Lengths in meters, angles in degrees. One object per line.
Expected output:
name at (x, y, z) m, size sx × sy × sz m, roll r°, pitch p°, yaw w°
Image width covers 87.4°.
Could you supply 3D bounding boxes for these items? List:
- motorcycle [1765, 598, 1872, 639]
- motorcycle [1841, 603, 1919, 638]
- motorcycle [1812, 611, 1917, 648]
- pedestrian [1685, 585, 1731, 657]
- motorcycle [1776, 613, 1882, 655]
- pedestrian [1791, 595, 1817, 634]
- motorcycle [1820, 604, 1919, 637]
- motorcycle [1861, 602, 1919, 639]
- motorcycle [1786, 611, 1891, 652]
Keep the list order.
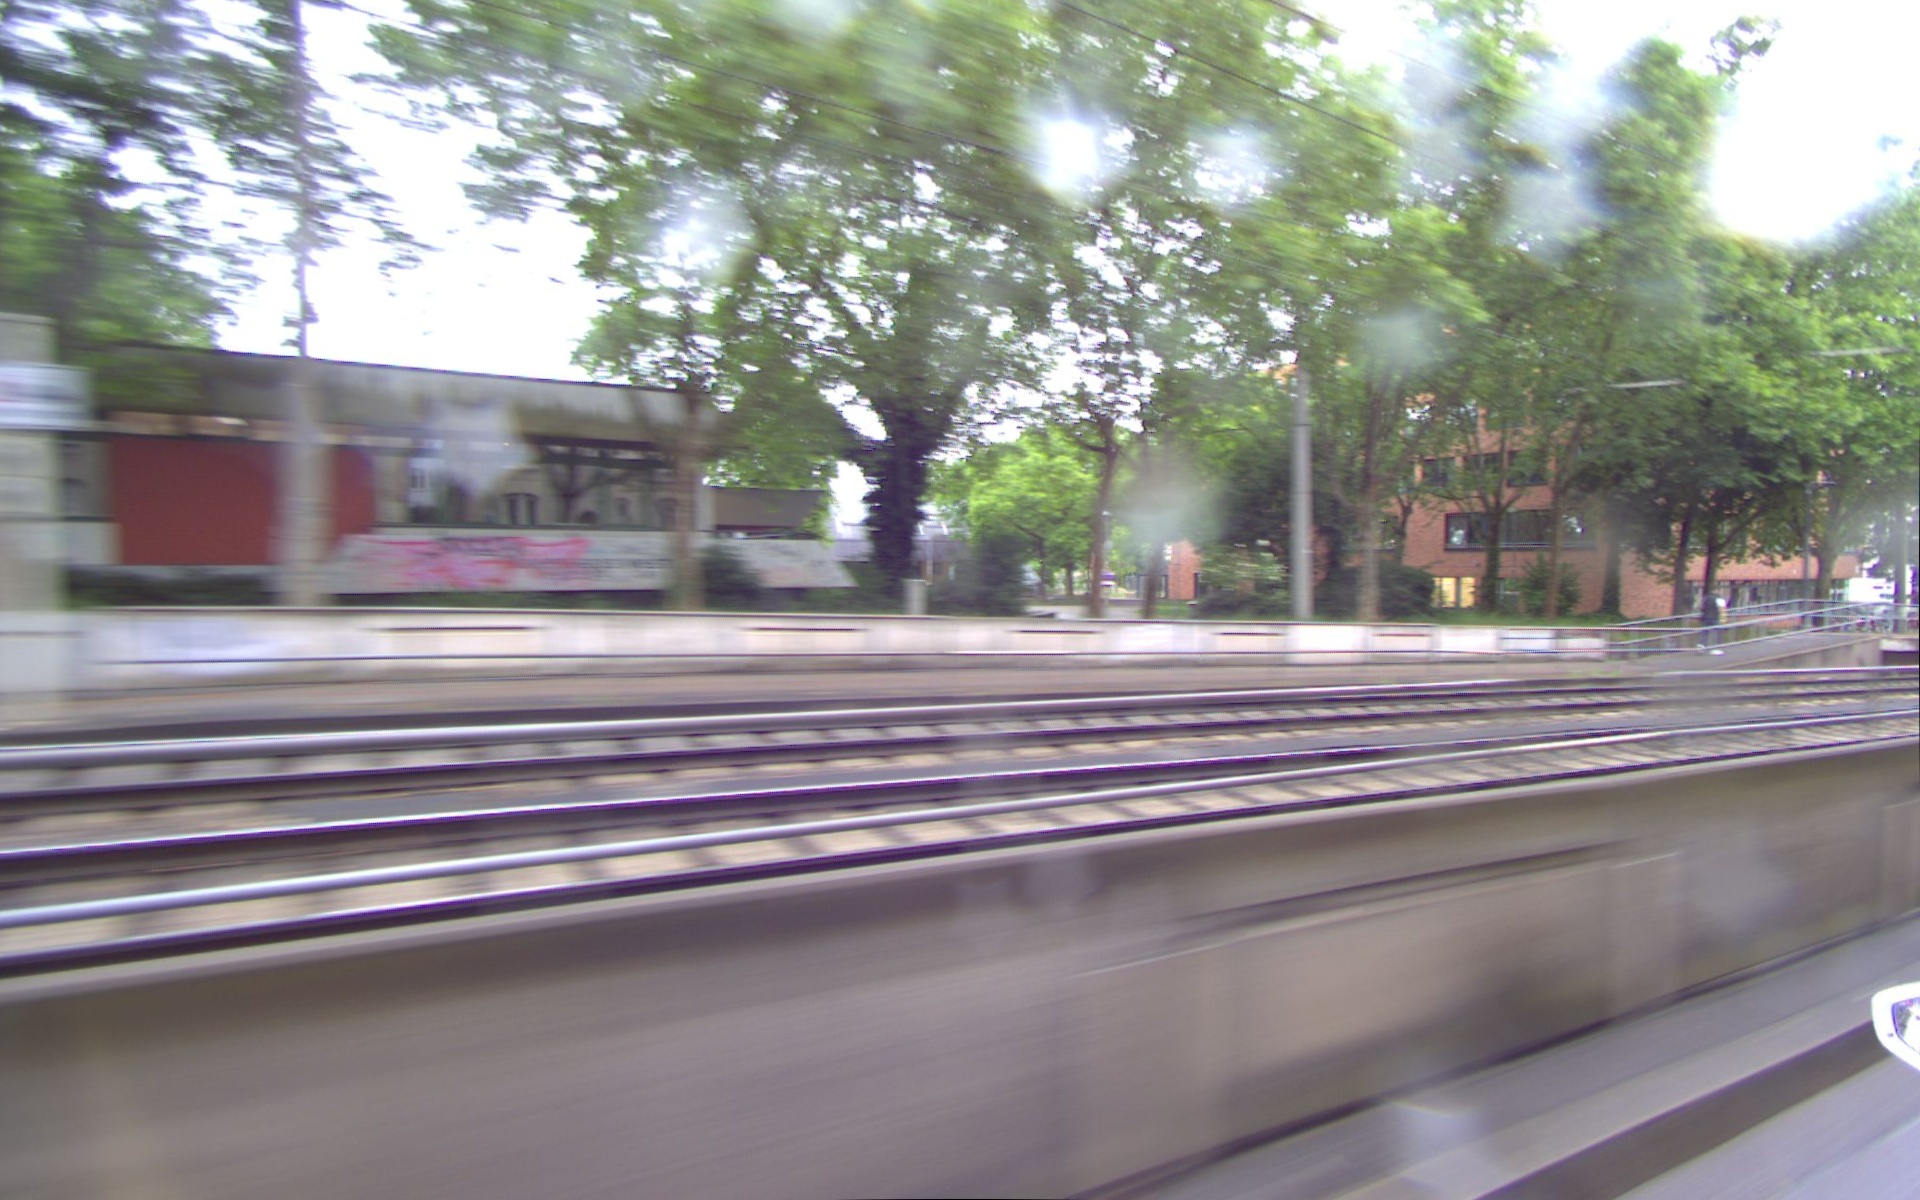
motorcycle at (42.001, 0.886, 49.230) m, size 0.994 × 1.797 × 3.844 m, roll 1°, pitch 1°, yaw -30°
motorcycle at (48.813, 1.075, 53.216) m, size 0.994 × 1.649 × 3.042 m, roll 1°, pitch 1°, yaw -30°
motorcycle at (46.250, 1.494, 51.426) m, size 0.994 × 1.627 × 3.844 m, roll 1°, pitch 1°, yaw -30°
pedestrian at (18.116, 0.492, 24.331) m, size 0.679 × 1.686 × 0.654 m, roll -3°, pitch 4°, yaw -30°
motorcycle at (43.211, 1.659, 50.043) m, size 0.994 × 1.840 × 3.844 m, roll 1°, pitch 1°, yaw -30°
pedestrian at (45.887, 0.792, 54.614) m, size 0.969 × 2.041 × 0.729 m, roll 1°, pitch 1°, yaw -30°
motorcycle at (47.793, 1.053, 52.744) m, size 0.994 × 1.508 × 3.844 m, roll 1°, pitch 1°, yaw -30°
motorcycle at (50.469, 1.099, 53.846) m, size 0.982 × 1.840 × 3.021 m, roll 1°, pitch 1°, yaw -30°
motorcycle at (44.193, 1.568, 50.615) m, size 0.994 × 1.840 × 3.844 m, roll 1°, pitch 1°, yaw -30°
